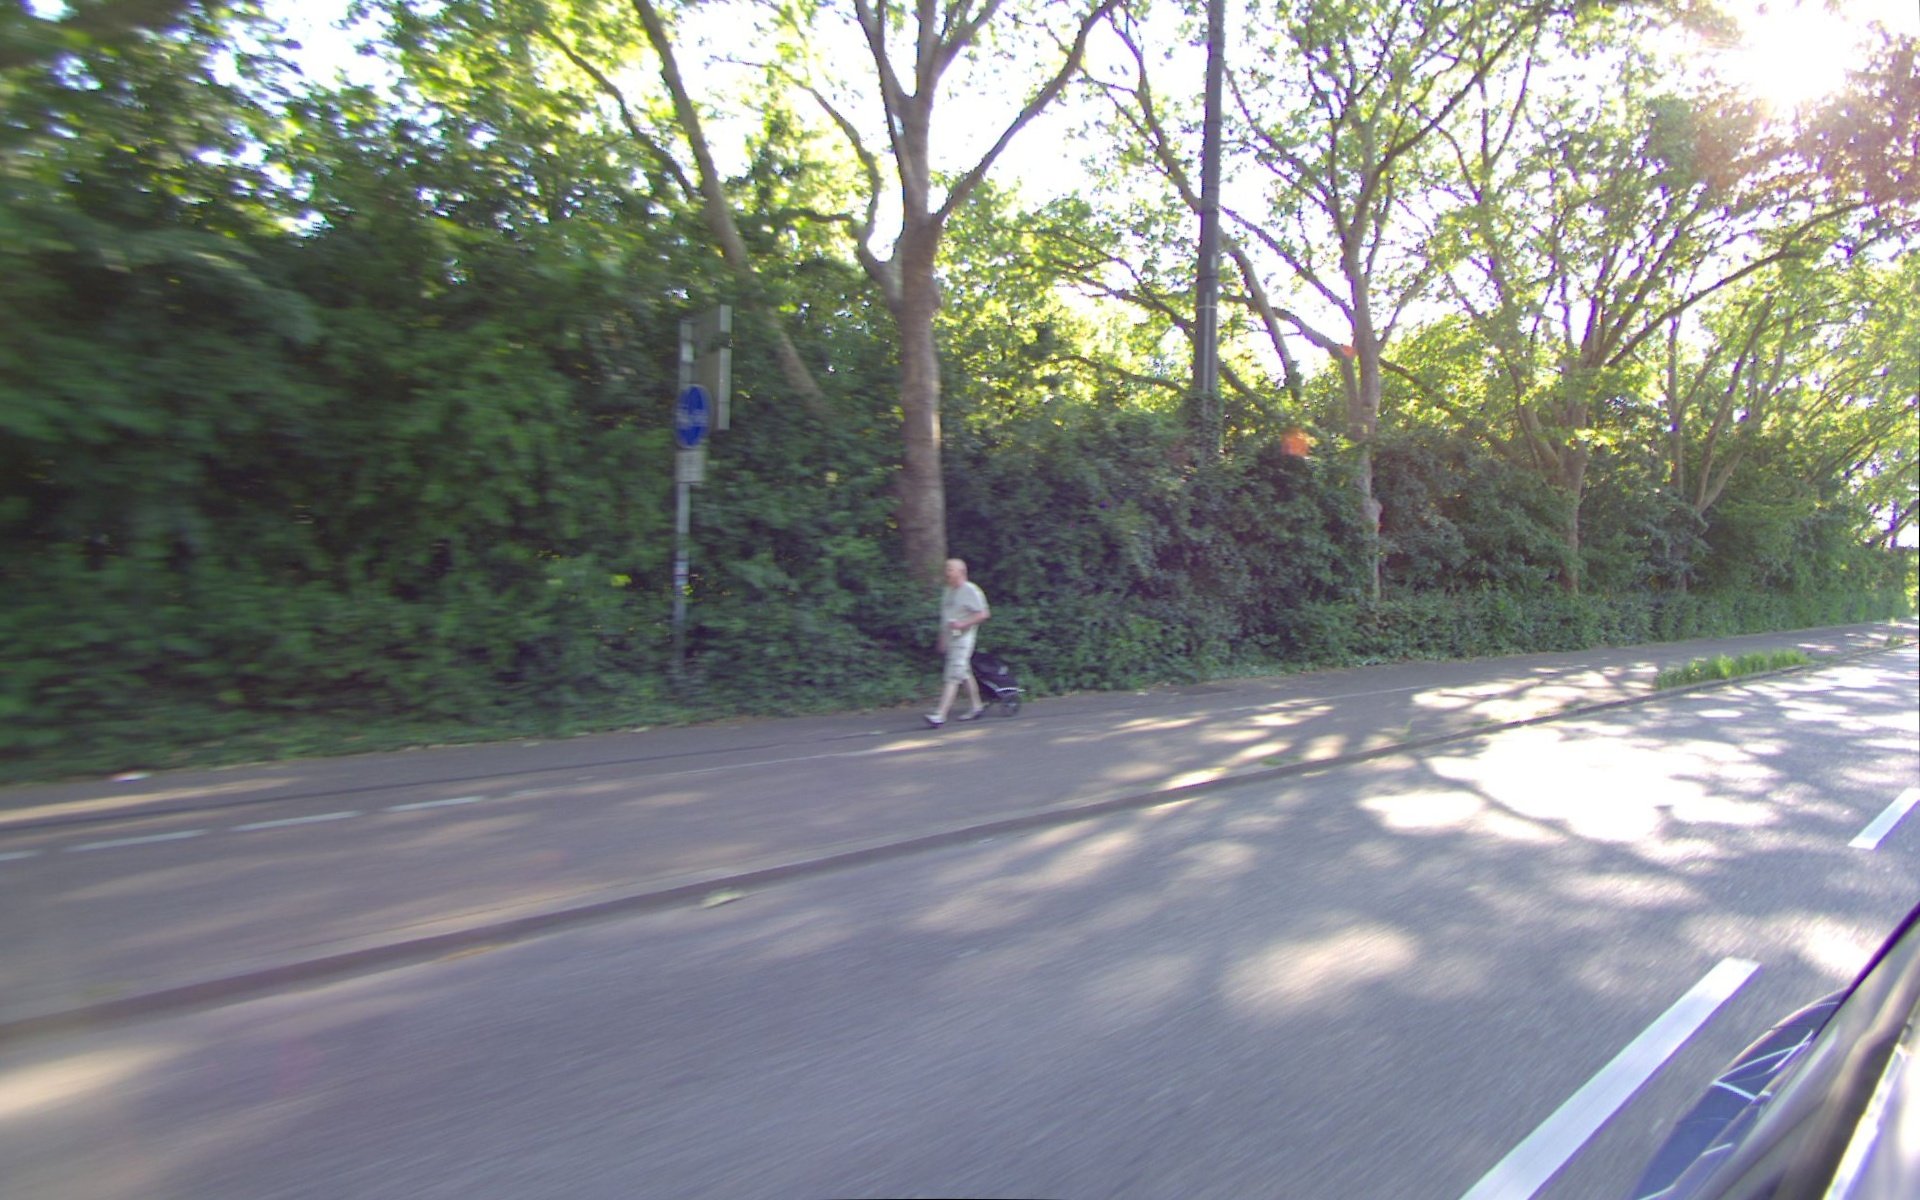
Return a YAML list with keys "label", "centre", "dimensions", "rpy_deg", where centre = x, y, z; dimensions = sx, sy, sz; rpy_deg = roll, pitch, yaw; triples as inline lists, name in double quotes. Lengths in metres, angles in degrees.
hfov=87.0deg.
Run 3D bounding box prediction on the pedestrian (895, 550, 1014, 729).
- label: "pedestrian"
  centre: [-0.051, 0.356, 9.967]
  dimensions: [0.911, 1.655, 0.649]
  rpy_deg: [0, 3, -41]
